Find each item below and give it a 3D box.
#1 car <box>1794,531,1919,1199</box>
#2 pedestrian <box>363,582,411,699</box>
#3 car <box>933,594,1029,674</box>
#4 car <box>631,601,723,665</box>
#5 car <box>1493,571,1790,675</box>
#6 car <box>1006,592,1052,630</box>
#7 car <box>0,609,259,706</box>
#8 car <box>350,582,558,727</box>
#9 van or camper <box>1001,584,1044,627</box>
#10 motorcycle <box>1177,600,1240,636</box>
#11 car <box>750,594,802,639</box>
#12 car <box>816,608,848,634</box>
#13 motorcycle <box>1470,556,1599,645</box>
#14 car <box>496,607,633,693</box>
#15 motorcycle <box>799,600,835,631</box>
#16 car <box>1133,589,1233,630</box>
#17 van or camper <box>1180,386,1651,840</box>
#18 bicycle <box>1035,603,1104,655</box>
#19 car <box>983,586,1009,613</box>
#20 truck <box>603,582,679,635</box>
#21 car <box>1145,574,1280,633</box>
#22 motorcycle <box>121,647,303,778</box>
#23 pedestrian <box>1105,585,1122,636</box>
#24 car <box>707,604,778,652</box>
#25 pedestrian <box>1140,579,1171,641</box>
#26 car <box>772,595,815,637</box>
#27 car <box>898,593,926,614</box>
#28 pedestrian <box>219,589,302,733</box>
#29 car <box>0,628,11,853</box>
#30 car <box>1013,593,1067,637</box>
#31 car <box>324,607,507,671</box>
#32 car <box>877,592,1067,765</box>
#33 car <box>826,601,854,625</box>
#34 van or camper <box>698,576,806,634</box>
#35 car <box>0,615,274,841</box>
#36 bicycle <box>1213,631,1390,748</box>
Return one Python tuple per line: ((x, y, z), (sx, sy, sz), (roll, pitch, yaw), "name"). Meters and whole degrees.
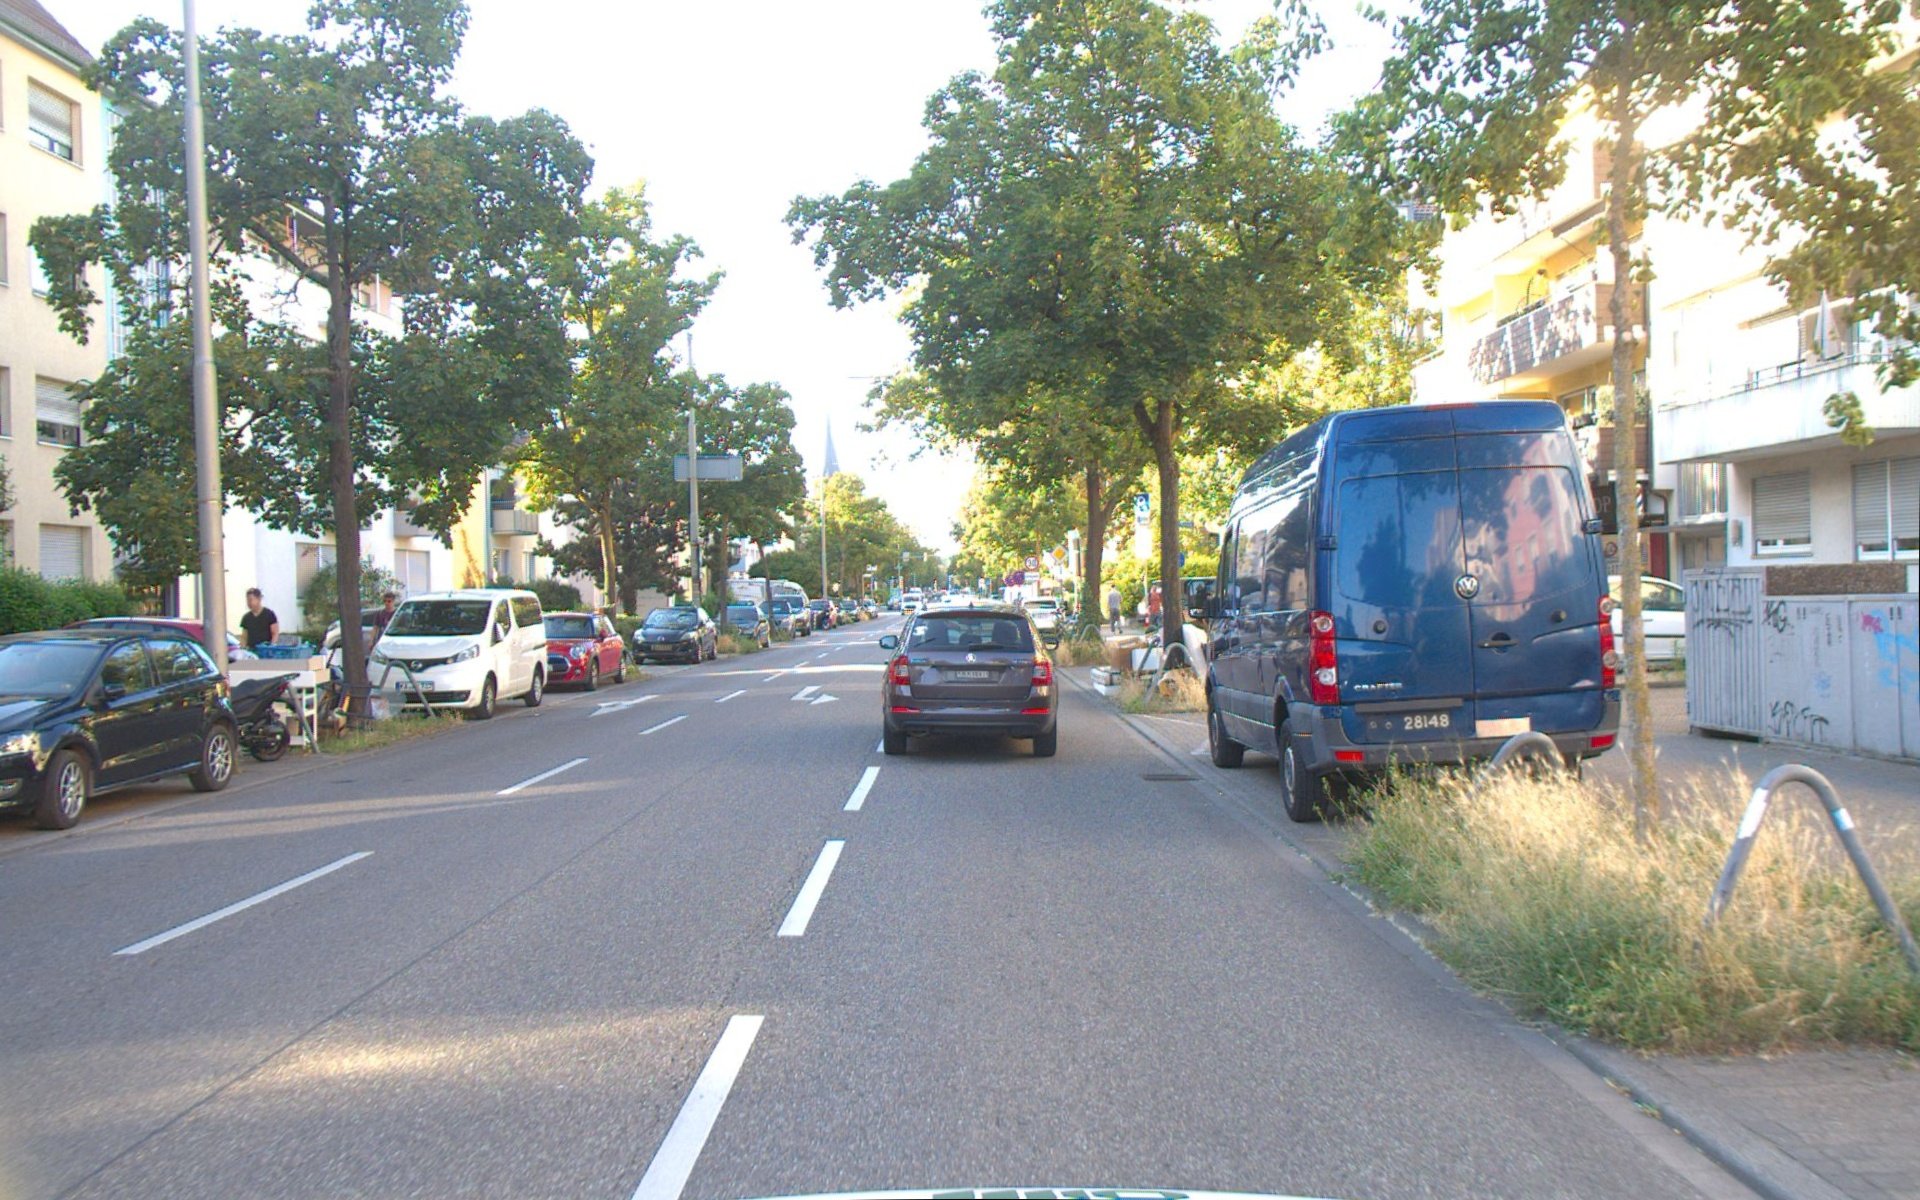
((3.109, 0.648, 2.448), (1.737, 1.671, 3.756), (-1, 0, -2), "car")
((-10.201, 0.710, 29.455), (0.614, 2.049, 0.616), (-1, 0, -1), "pedestrian")
((0.387, 0.668, 34.759), (1.695, 1.520, 3.948), (-1, 1, -4), "car")
((-7.502, 0.841, 44.140), (1.682, 1.523, 4.247), (-1, 1, 0), "car")
((10.644, 0.337, 25.997), (3.908, 1.487, 1.823), (-1, 0, -4), "car")
((2.774, 0.423, 67.228), (1.783, 1.438, 4.112), (-1, 1, 2), "car")
((-13.976, 0.911, 26.611), (4.630, 1.386, 1.993), (-1, 1, -13), "car")
((-7.500, 0.723, 24.995), (1.733, 1.952, 4.459), (-1, 1, 0), "car")
((3.101, 0.245, 82.644), (1.953, 2.049, 4.000), (-1, 1, 0), "van or camper")
((8.274, 0.593, 55.140), (2.011, 1.144, 0.525), (-1, 0, -5), "motorcycle")
((-7.619, 0.662, 68.611), (1.714, 1.771, 3.591), (-1, 1, 0), "car")
((-7.655, 1.251, 98.809), (1.630, 1.457, 3.275), (-1, 1, 0), "car")
((10.981, 0.006, 31.674), (2.148, 1.649, 0.890), (-1, 0, 6), "motorcycle")
((-7.528, 0.912, 31.800), (1.682, 1.445, 3.786), (-1, 1, 0), "car")
((-7.242, 0.800, 83.585), (0.760, 1.538, 1.999), (-2, 1, -42), "motorcycle")
((9.018, 0.369, 66.846), (3.747, 1.552, 1.502), (-2, 0, -22), "car")
((3.180, 0.094, 13.093), (2.025, 2.722, 5.989), (-1, 0, 0), "van or camper")
((2.848, 0.755, 42.984), (1.635, 1.247, 0.636), (-4, 0, 13), "bicycle")
((2.555, -0.068, 118.431), (1.694, 1.847, 3.949), (-1, 1, -2), "car")
((-13.483, 0.352, 69.966), (2.854, 2.130, 1.546), (-1, 0, -1), "truck")
((8.967, 0.105, 58.725), (4.481, 1.926, 1.897), (-2, 0, -28), "car")
((-7.697, 1.134, 17.087), (0.433, 1.212, 1.700), (-1, 1, 37), "motorcycle")
((5.563, 0.387, 60.047), (0.524, 1.825, 0.688), (-1, 0, 2), "pedestrian")
((-7.295, 0.917, 55.854), (1.718, 1.445, 4.426), (-1, 1, 1), "car")
((5.900, 0.305, 49.934), (0.741, 1.827, 0.905), (-1, 0, -5), "pedestrian")
((-7.357, 0.686, 73.279), (1.476, 1.788, 3.693), (-1, 1, 0), "car")
((-4.188, 0.291, 143.918), (1.837, 1.788, 4.182), (-1, 1, 6), "car")
((-10.223, 0.870, 24.197), (0.751, 2.049, 0.976), (-1, 0, -1), "pedestrian")
((-7.421, 1.001, 9.299), (1.714, 1.529, 4.197), (-1, 1, 0), "car")
((2.799, 0.497, 58.510), (1.783, 1.438, 4.112), (-1, 1, 2), "car")
((-13.465, 0.941, 41.092), (3.908, 1.505, 1.999), (0, 0, -4), "car")
((0.143, 0.705, 17.044), (1.694, 1.520, 3.951), (-1, 1, 1), "car")
((-7.944, 0.850, 109.798), (1.630, 1.457, 3.275), (-1, 1, 0), "car")
((-15.021, 0.342, 119.765), (7.486, 3.942, 1.999), (-1, 0, -2), "van or camper")
((-7.435, 0.953, 13.825), (1.714, 1.529, 3.978), (-1, 1, 0), "car")
((3.378, 0.882, 16.416), (1.666, 1.108, 0.404), (-1, 0, 3), "bicycle")
